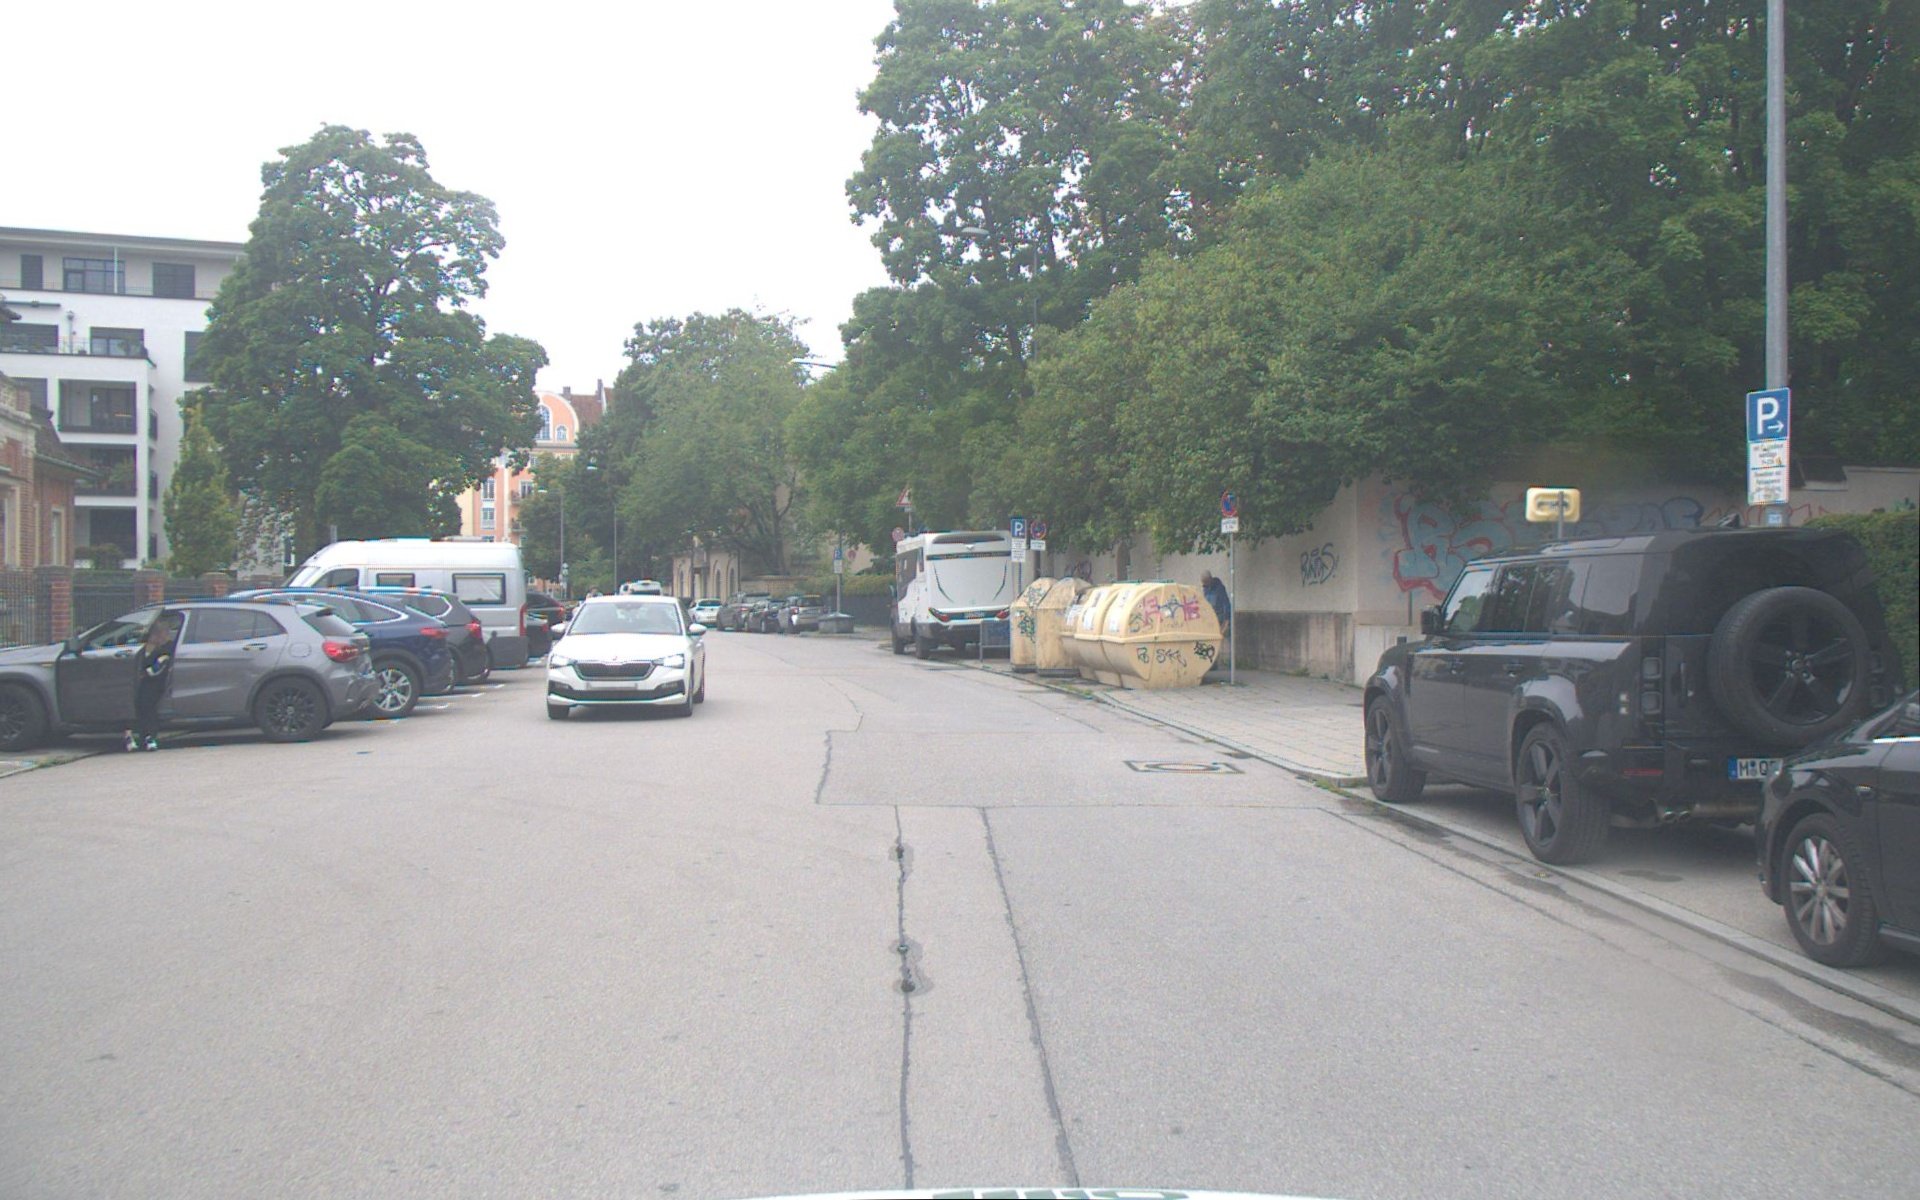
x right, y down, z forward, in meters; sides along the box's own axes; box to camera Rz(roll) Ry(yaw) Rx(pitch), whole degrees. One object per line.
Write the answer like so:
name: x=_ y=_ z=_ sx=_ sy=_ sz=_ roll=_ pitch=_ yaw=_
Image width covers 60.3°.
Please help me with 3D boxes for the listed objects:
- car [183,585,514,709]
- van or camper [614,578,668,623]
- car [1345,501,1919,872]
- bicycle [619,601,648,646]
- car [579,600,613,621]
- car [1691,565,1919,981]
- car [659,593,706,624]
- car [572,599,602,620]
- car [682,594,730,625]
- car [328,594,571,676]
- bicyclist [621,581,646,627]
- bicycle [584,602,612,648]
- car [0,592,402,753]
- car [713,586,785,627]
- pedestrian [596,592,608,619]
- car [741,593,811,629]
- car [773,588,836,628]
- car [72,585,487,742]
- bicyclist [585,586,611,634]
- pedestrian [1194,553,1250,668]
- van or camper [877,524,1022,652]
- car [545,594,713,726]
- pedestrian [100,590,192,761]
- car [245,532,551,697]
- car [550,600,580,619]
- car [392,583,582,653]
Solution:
car: x=-9.464 y=0.687 z=25.714 sx=4.475 sy=1.653 sz=1.943 roll=-2 pitch=-1 yaw=-35
van or camper: x=-19.569 y=0.022 z=101.248 sx=2.161 sy=2.594 sz=5.691 roll=-2 pitch=1 yaw=-21
car: x=4.271 y=0.460 z=11.085 sx=1.948 sy=1.904 sz=5.074 roll=0 pitch=0 yaw=-3
bicycle: x=-9.901 y=0.693 z=50.134 sx=0.695 sy=1.328 sz=2.109 roll=-1 pitch=0 yaw=-15
car: x=-26.055 y=0.737 z=118.296 sx=1.683 sy=1.432 sz=4.102 roll=-2 pitch=1 yaw=-22
car: x=4.497 y=0.649 z=5.721 sx=1.713 sy=1.566 sz=4.567 roll=-1 pitch=0 yaw=-3
car: x=-15.030 y=0.463 z=89.513 sx=1.682 sy=1.564 sz=4.214 roll=-3 pitch=1 yaw=-20
car: x=-27.714 y=0.703 z=122.793 sx=1.682 sy=1.491 sz=3.814 roll=-2 pitch=1 yaw=-20
car: x=-13.028 y=0.490 z=84.813 sx=1.661 sy=1.466 sz=3.976 roll=-2 pitch=0 yaw=-20
car: x=-10.669 y=0.693 z=34.718 sx=4.482 sy=1.476 sz=1.950 roll=-2 pitch=1 yaw=-39
bicyclist: x=-9.889 y=0.123 z=50.100 sx=0.685 sy=1.376 sz=0.927 roll=-1 pitch=0 yaw=-13
bicycle: x=-10.903 y=0.738 z=49.791 sx=0.696 sy=1.328 sz=2.109 roll=-1 pitch=0 yaw=-16
car: x=-8.374 y=0.748 z=17.891 sx=4.258 sy=1.556 sz=1.926 roll=-1 pitch=-1 yaw=-15
car: x=-9.724 y=0.312 z=75.871 sx=1.967 sy=1.741 sz=4.849 roll=-2 pitch=1 yaw=-23
pedestrian: x=-27.258 y=0.447 z=125.925 sx=0.762 sy=2.049 sz=0.559 roll=0 pitch=0 yaw=-22
car: x=-8.011 y=0.465 z=71.586 sx=1.852 sy=1.452 sz=4.191 roll=-2 pitch=1 yaw=-23
car: x=-6.390 y=0.340 z=67.805 sx=1.716 sy=1.563 sz=2.924 roll=-2 pitch=0 yaw=-24
car: x=-8.440 y=0.711 z=20.655 sx=4.475 sy=1.621 sz=1.941 roll=-3 pitch=1 yaw=-35
bicyclist: x=-10.898 y=0.299 z=49.739 sx=0.685 sy=1.422 sz=0.926 roll=-1 pitch=0 yaw=-17
pedestrian: x=4.669 y=0.182 z=29.513 sx=0.791 sy=2.020 sz=0.621 roll=-1 pitch=0 yaw=-41
van or camper: x=-0.409 y=-0.303 z=42.230 sx=2.233 sy=2.957 sz=7.254 roll=-1 pitch=0 yaw=-12
car: x=-4.141 y=0.684 z=21.228 sx=1.738 sy=1.501 sz=4.128 roll=-1 pitch=0 yaw=-6
pedestrian: x=-8.229 y=0.744 z=16.748 sx=0.578 sy=1.676 sz=0.713 roll=-2 pitch=0 yaw=-7
car: x=-9.724 y=0.173 z=28.722 sx=4.583 sy=2.608 sz=2.207 roll=-2 pitch=1 yaw=-35
car: x=-31.485 y=0.761 z=131.824 sx=1.648 sy=1.367 sz=3.809 roll=-2 pitch=2 yaw=-24
car: x=-12.717 y=0.462 z=44.613 sx=4.488 sy=1.694 sz=1.958 roll=-2 pitch=0 yaw=-41
